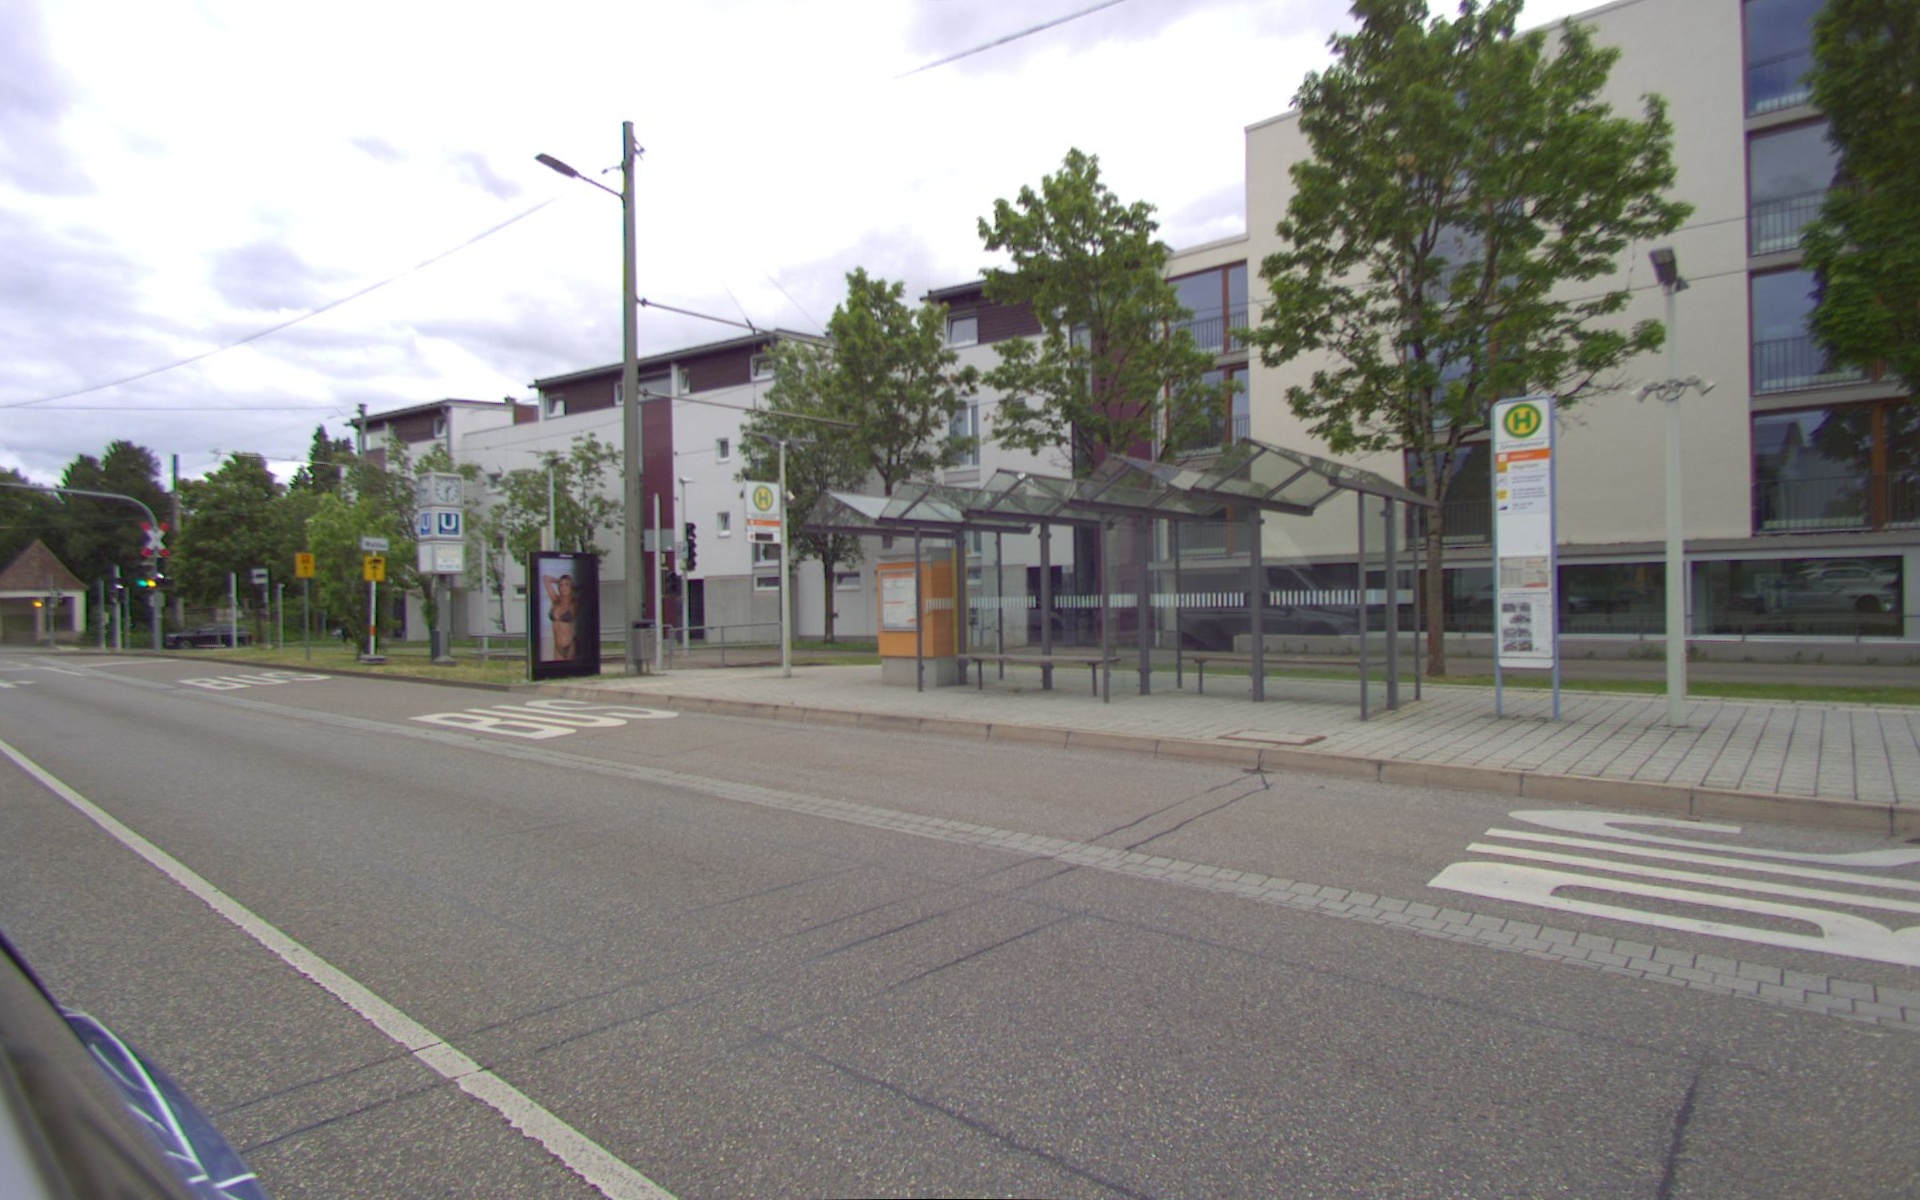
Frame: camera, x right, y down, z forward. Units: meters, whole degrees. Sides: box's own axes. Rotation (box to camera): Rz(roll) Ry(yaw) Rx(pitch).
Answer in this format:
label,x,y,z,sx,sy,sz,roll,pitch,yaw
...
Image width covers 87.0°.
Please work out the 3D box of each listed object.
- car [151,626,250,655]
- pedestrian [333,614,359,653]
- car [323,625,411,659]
label,x,y,z,sx,sy,sz,roll,pitch,yaw
car,-46.526,2.489,62.066,1.960,1.682,4.437,-1,-3,33
pedestrian,-26.615,1.445,43.869,0.817,1.657,0.669,-4,-3,35
car,-38.289,2.719,65.453,1.995,2.029,4.418,-1,-4,34
